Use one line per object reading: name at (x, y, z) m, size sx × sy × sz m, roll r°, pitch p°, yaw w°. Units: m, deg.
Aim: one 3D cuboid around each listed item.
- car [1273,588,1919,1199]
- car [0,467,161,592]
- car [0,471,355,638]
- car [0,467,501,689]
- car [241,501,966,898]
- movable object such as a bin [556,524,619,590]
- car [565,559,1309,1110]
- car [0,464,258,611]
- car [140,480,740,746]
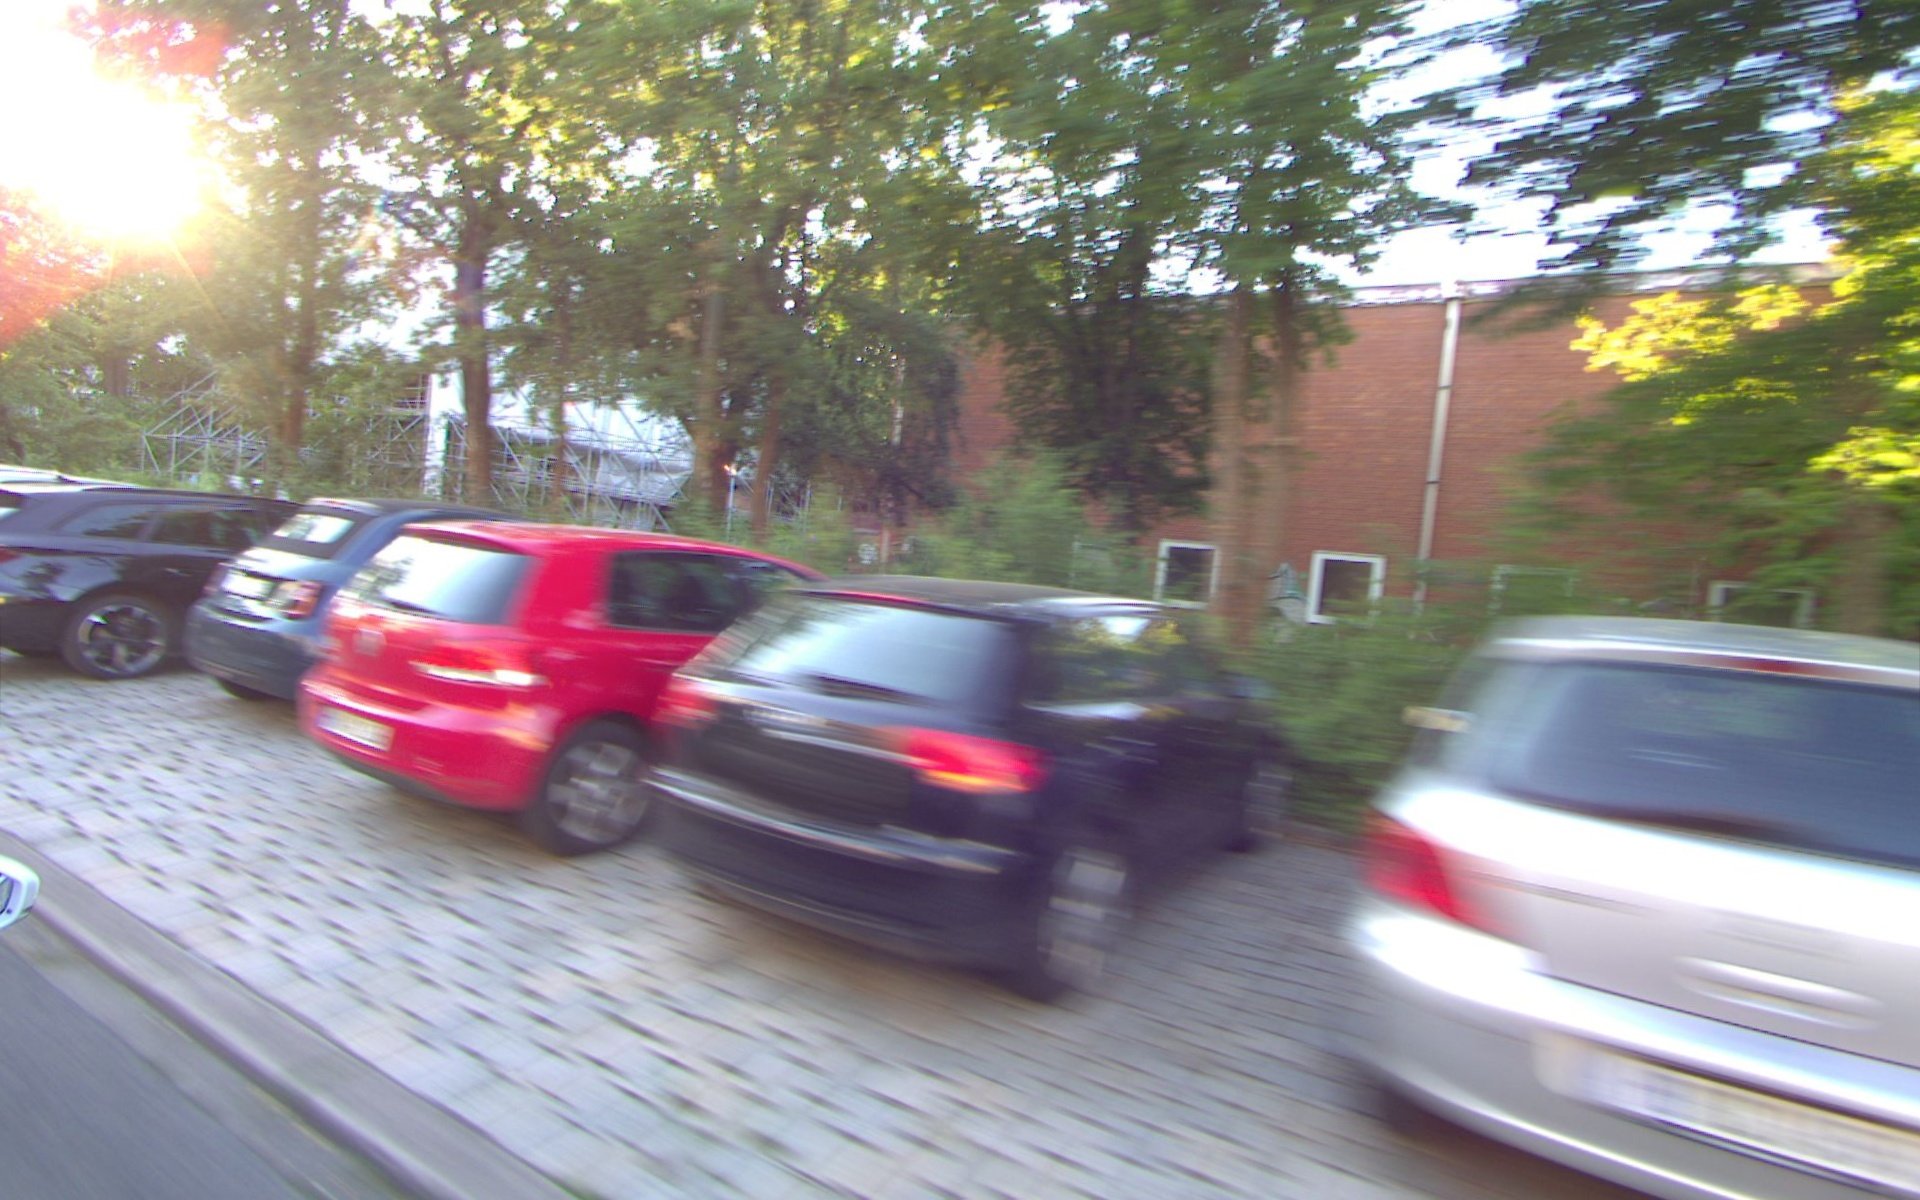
car at (2.555, 0.800, 3.560) m, size 1.790 × 1.520 × 3.722 m, roll 6°, pitch 4°, yaw 31°
car at (-12.856, -0.950, 12.431) m, size 1.713 × 1.496 × 4.334 m, roll 9°, pitch 5°, yaw 32°
car at (-8.742, -0.486, 10.334) m, size 1.802 × 1.474 × 3.921 m, roll 7°, pitch 4°, yaw 32°
car at (-6.394, -0.233, 8.642) m, size 1.802 × 1.495 × 4.117 m, roll 7°, pitch 4°, yaw 32°
car at (-1.724, 0.327, 5.991) m, size 1.727 × 1.496 × 3.804 m, roll 6°, pitch 4°, yaw 31°
movable object such as a bin at (-8.991, -1.039, 24.281) m, size 0.968 × 1.458 × 0.961 m, roll 8°, pitch 3°, yaw 34°
car at (0.291, 0.613, 4.802) m, size 1.727 × 1.415 × 3.746 m, roll 6°, pitch 4°, yaw 31°
car at (-10.757, -0.762, 11.846) m, size 1.711 × 1.577 × 3.713 m, roll 7°, pitch 4°, yaw 27°
car at (-3.776, 0.002, 7.931) m, size 1.801 × 1.496 × 3.804 m, roll 6°, pitch 4°, yaw 31°
